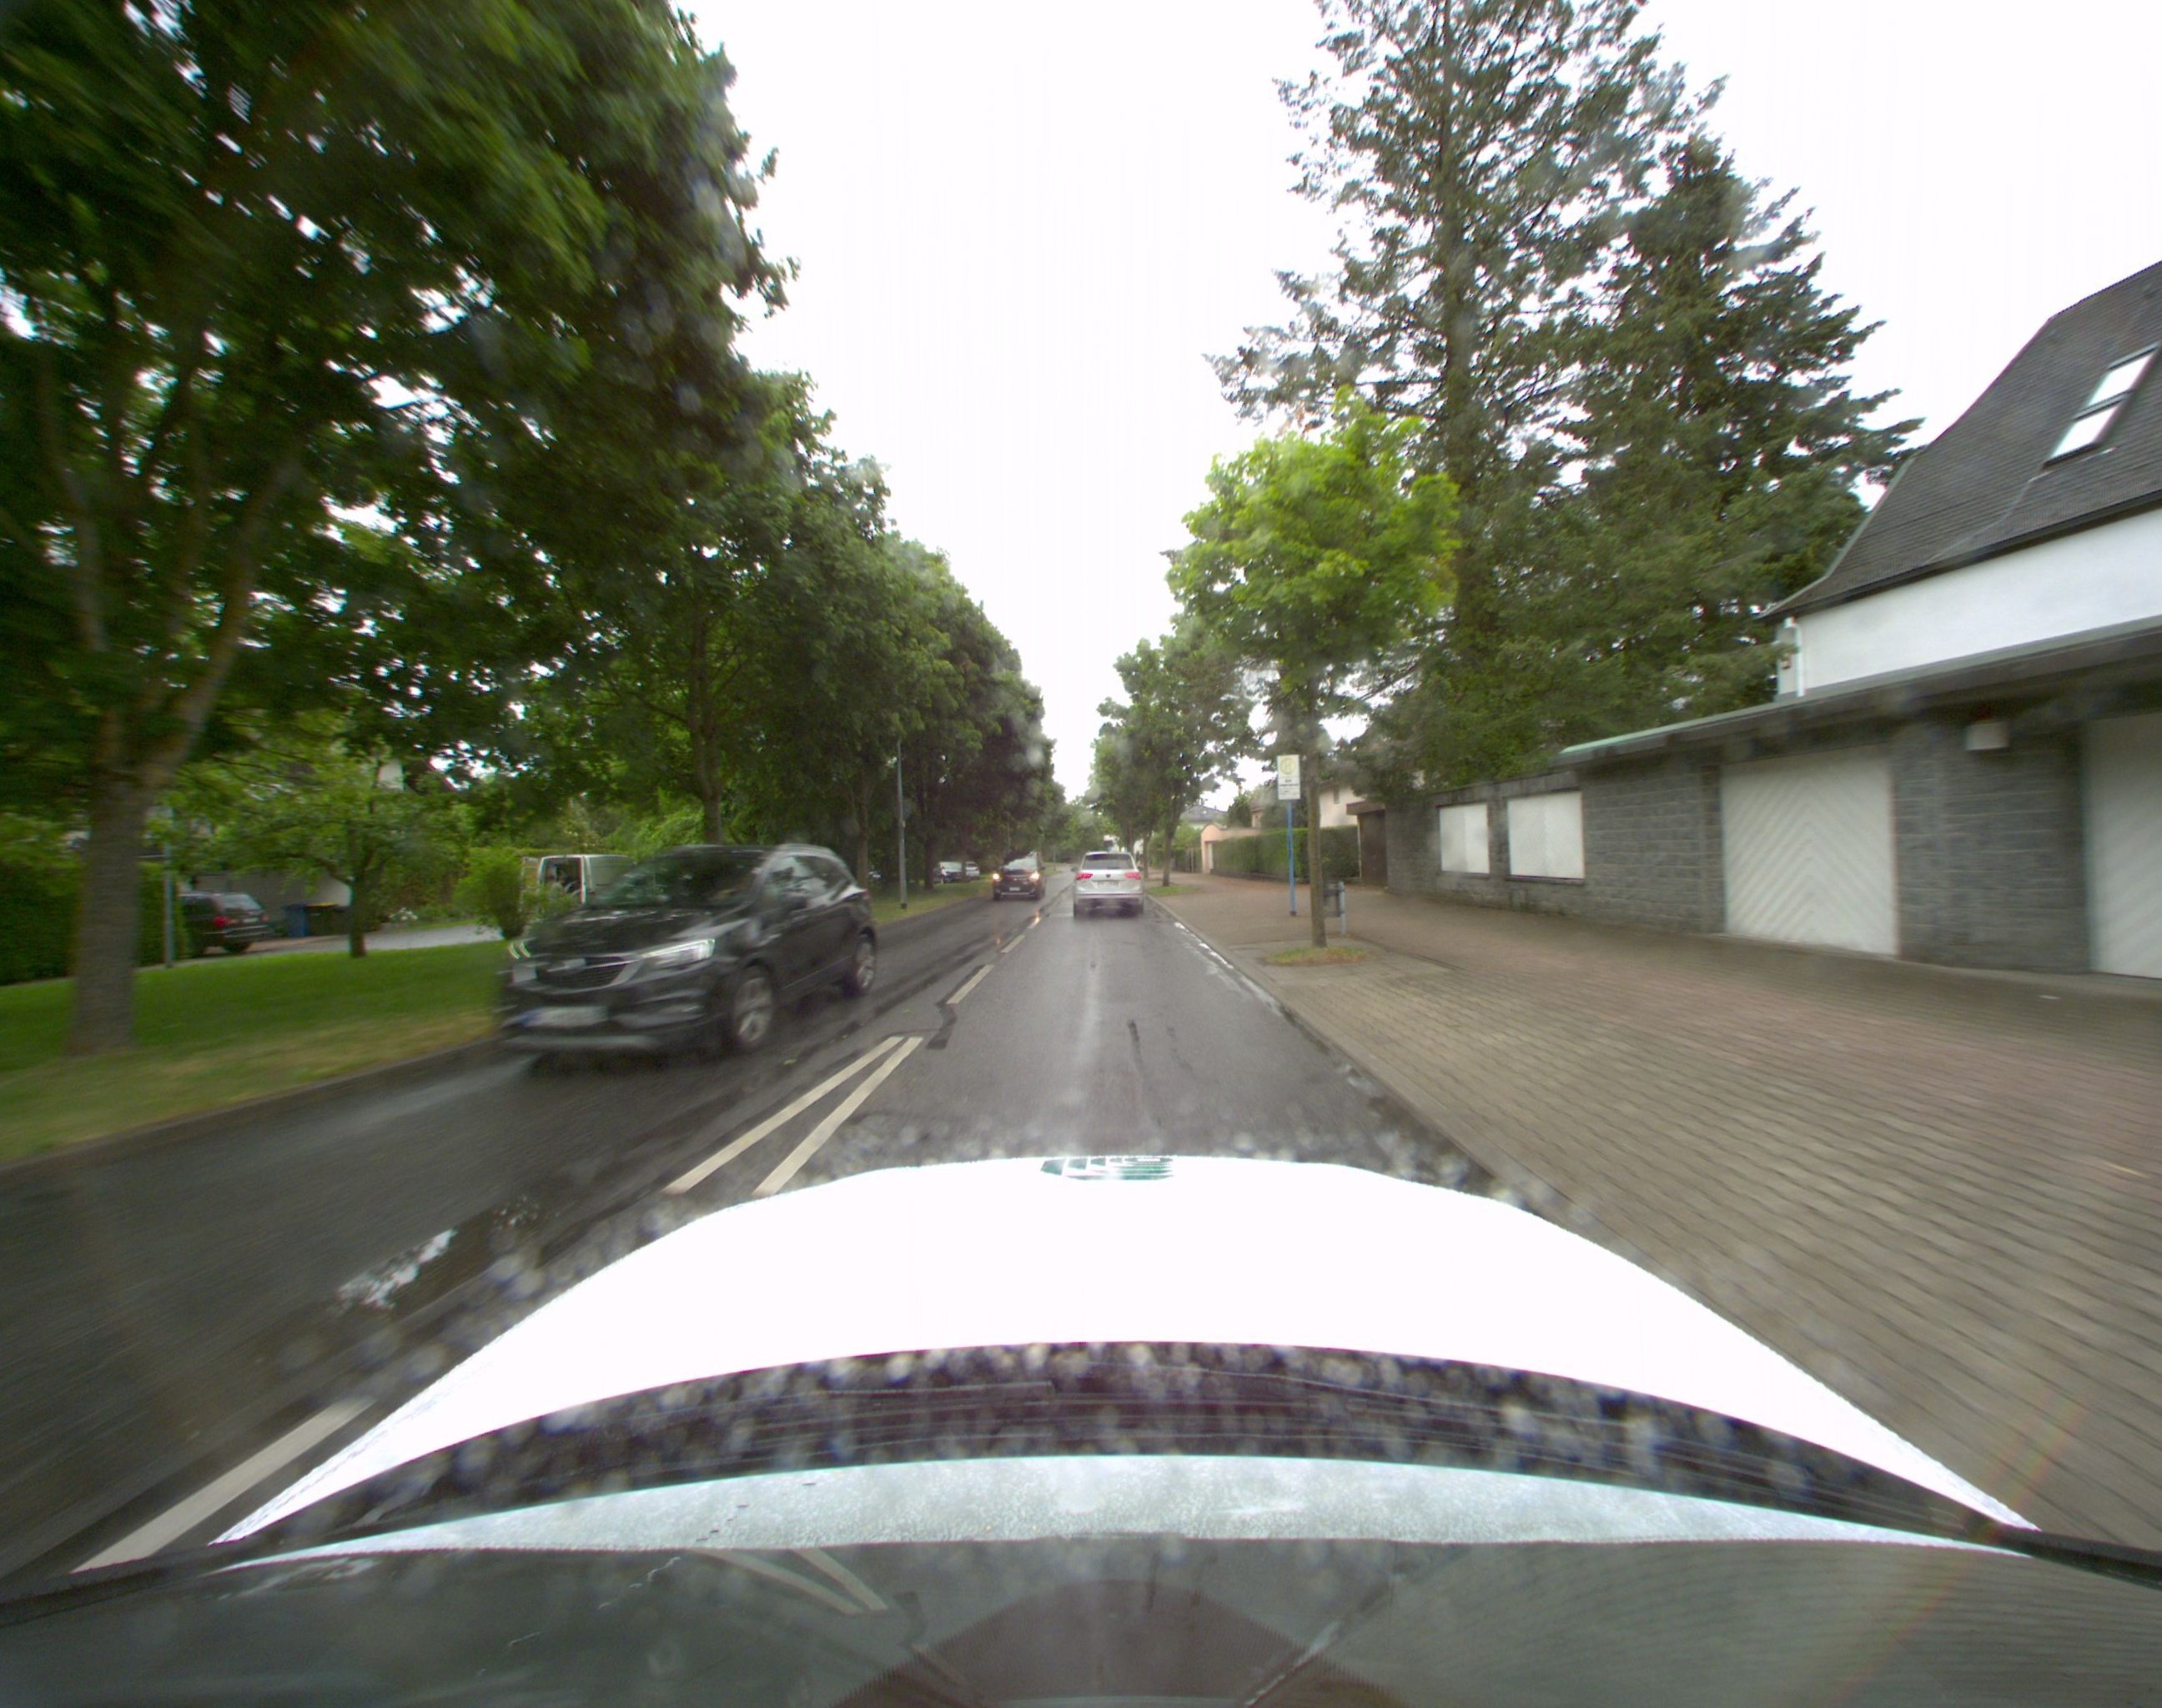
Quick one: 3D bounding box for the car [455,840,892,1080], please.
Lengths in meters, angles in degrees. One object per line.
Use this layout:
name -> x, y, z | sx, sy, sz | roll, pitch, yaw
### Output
car -> -3.245, 0.714, 7.576 | 1.702, 1.597, 4.176 | -1, 0, 4

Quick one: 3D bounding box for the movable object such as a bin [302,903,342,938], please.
movable object such as a bin -> -24.724, 2.166, 26.523 | 0.707, 1.057, 0.548 | -2, 2, -9

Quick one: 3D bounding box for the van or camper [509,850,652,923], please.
van or camper -> -18.423, 1.107, 30.414 | 2.088, 2.335, 6.138 | -3, 0, -7

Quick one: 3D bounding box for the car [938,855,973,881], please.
car -> -8.145, 0.898, 52.584 | 1.890, 1.514, 4.231 | -2, 0, -12

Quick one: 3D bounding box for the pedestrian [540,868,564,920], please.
pedestrian -> -18.377, 1.383, 28.297 | 0.484, 1.782, 0.399 | -3, 0, -8

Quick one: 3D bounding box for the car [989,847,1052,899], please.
car -> -2.200, 0.650, 30.798 | 1.769, 1.773, 4.289 | -2, 0, 3

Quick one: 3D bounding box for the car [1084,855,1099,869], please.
car -> 1.604, 1.196, 123.518 | 1.897, 2.014, 3.939 | 0, -1, -4

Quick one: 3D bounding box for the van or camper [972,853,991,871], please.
van or camper -> -13.801, 1.083, 113.185 | 2.382, 2.360, 6.795 | -3, 0, -7

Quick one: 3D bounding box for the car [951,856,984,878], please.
car -> -8.976, 0.994, 64.013 | 1.885, 1.429, 4.193 | -3, 2, -17

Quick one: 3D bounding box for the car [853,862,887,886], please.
car -> -15.952, 1.443, 61.356 | 1.870, 1.508, 4.573 | -3, 2, -22

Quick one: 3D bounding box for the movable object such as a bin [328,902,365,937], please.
movable object such as a bin -> -24.022, 2.146, 26.658 | 0.655, 1.057, 0.548 | -2, 2, -9

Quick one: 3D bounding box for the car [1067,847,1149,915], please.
car -> 0.731, 0.664, 22.128 | 1.966, 1.653, 4.179 | -1, 0, 2

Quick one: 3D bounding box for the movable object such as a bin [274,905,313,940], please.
movable object such as a bin -> -25.449, 2.201, 26.325 | 0.655, 1.057, 0.548 | -2, 2, -9

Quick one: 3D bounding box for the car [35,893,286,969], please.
car -> -24.311, 1.987, 21.697 | 3.992, 1.594, 1.895 | -3, 0, -13
